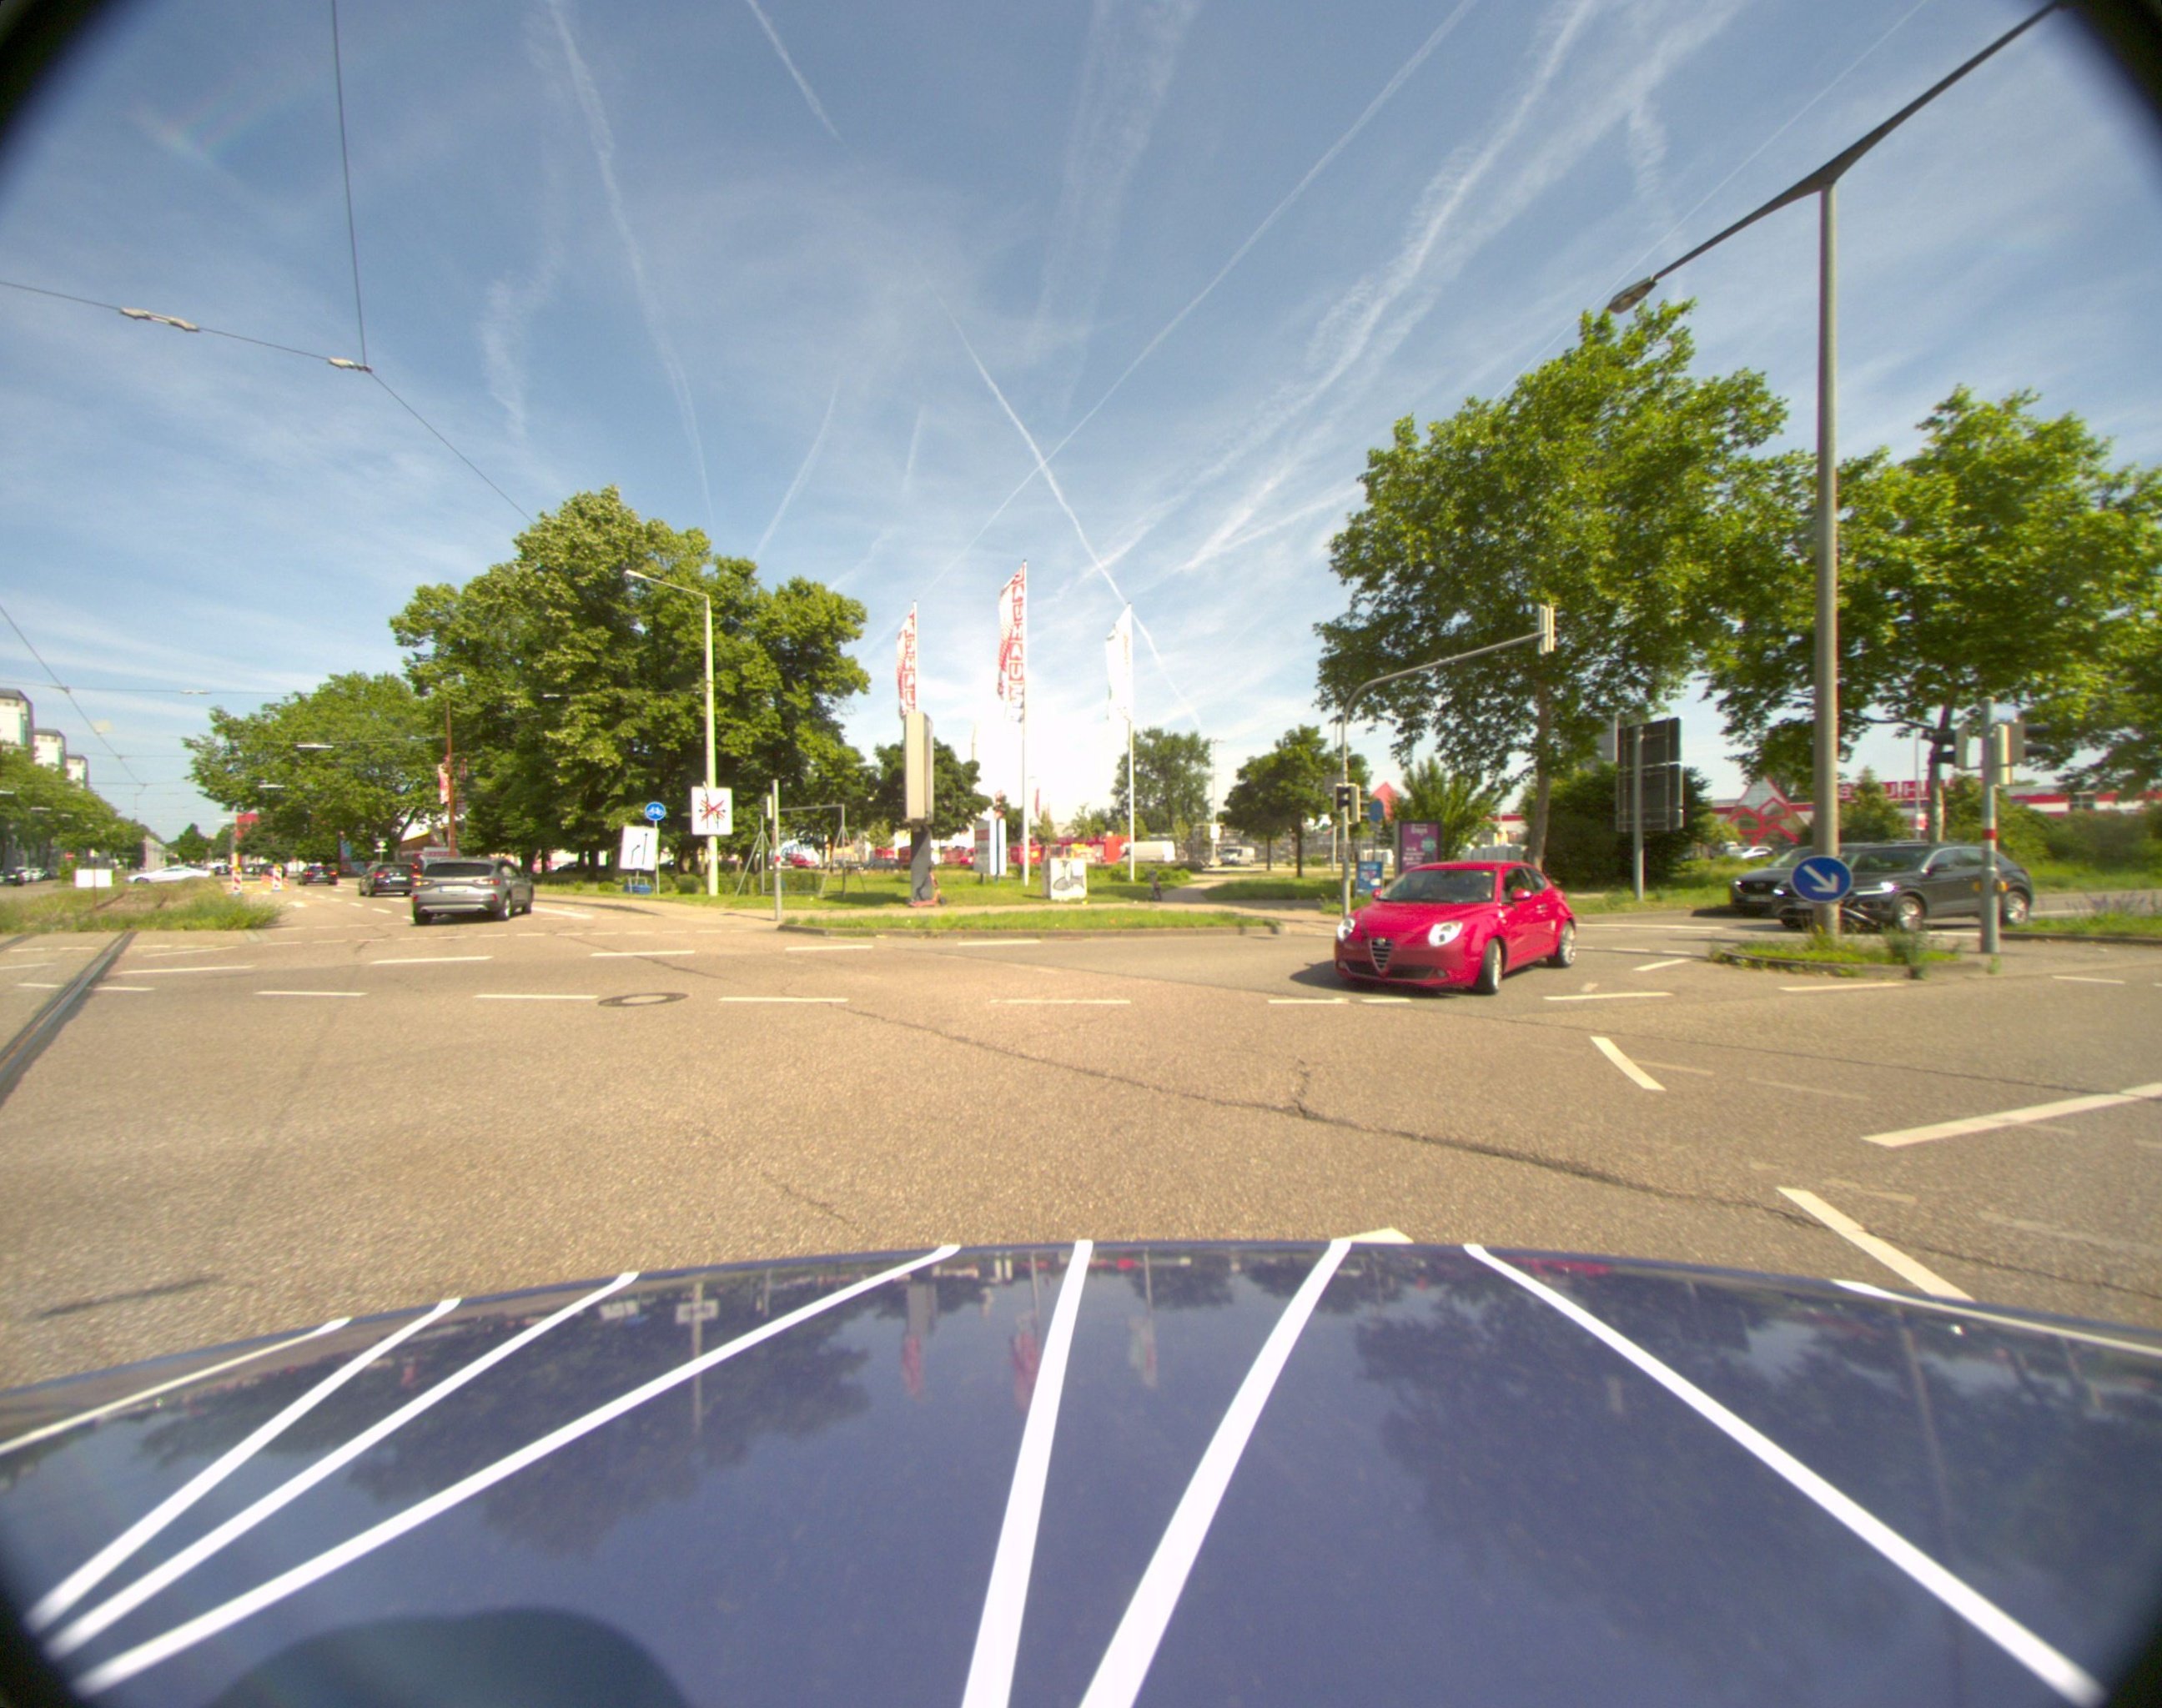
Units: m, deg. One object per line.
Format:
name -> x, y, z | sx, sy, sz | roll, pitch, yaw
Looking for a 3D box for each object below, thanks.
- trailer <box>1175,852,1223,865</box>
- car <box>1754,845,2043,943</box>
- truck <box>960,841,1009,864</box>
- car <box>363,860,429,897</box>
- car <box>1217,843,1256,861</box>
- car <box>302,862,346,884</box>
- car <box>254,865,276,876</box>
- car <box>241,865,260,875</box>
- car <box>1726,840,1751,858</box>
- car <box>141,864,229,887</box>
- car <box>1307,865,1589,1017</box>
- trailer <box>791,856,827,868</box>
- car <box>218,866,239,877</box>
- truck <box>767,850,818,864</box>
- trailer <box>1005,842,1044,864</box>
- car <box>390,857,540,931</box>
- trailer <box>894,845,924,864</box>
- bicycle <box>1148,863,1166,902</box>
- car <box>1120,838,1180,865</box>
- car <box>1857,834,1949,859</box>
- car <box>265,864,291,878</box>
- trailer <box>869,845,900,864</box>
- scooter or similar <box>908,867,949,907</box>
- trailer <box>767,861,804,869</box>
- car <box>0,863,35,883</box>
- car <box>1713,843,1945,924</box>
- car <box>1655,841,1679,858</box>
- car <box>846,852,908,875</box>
trailer -> 11.143, 0.403, 71.873 | 4.020, 1.116, 2.073 | 0, 3, 41
car -> 14.895, 0.667, 13.907 | 4.083, 1.536, 1.873 | -1, 0, -14
truck -> -11.343, -0.182, 89.571 | 2.013, 2.594, 6.043 | 0, 0, 38
car -> -32.390, 1.110, 35.897 | 4.365, 1.596, 1.818 | 0, 1, 42
car -> 15.665, -0.205, 76.230 | 1.869, 1.805, 4.841 | 1, 1, 38
car -> -55.962, 1.350, 56.160 | 4.381, 1.502, 1.855 | 0, 1, 40
car -> -115.856, 2.301, 107.842 | 4.331, 1.502, 1.855 | 0, 1, 41
car -> -136.060, 2.565, 124.447 | 4.331, 1.502, 1.855 | 0, 1, 41
car -> 61.284, -0.480, 70.866 | 1.685, 1.565, 4.008 | -1, 1, 40
car -> -76.168, 1.794, 64.653 | 1.910, 1.679, 4.636 | 0, 1, 34
car -> 4.635, 0.906, 9.353 | 3.916, 1.429, 1.655 | 0, -2, -41
trailer -> -30.348, 0.868, 84.719 | 4.399, 1.279, 1.594 | -1, 1, 36
car -> -122.905, 2.468, 109.548 | 4.331, 1.502, 1.855 | 0, 1, 41
truck -> -38.400, 0.396, 101.250 | 2.182, 1.820, 6.018 | -3, -2, 41
trailer -> -6.368, -0.130, 86.500 | 1.746, 2.363, 4.421 | 1, 1, 43
car -> -15.986, 0.943, 20.035 | 2.000, 1.641, 4.645 | -1, 1, -25
trailer -> -21.732, 0.072, 96.015 | 1.554, 2.344, 4.398 | -1, 1, -45
bicycle -> 2.410, 0.890, 24.139 | 0.503, 1.102, 1.792 | -1, 2, 5
car -> 6.794, -0.251, 75.408 | 5.672, 2.528, 2.023 | -1, 3, 38
car -> 54.174, -0.498, 50.152 | 3.851, 1.576, 1.853 | -1, 1, 37
car -> -95.739, 2.024, 90.552 | 4.331, 1.502, 1.855 | 0, 1, 41
trailer -> -24.396, 0.074, 94.109 | 4.398, 2.363, 1.594 | 0, 1, 42
scooter or similar -> -4.423, 0.952, 22.042 | 1.124, 1.120, 0.425 | -1, 1, -15
trailer -> -31.925, 1.176, 81.972 | 4.399, 0.777, 2.104 | -1, 1, 44
car -> -91.809, 1.627, 65.257 | 4.613, 1.679, 1.920 | 0, 1, 41
car -> 17.315, 0.644, 17.631 | 4.498, 1.649, 1.770 | -1, -1, -15
car -> 57.500, -0.478, 74.525 | 1.685, 1.565, 4.008 | -1, 1, 40
car -> -15.146, 0.708, 56.409 | 4.058, 1.578, 1.725 | -2, 1, -42
